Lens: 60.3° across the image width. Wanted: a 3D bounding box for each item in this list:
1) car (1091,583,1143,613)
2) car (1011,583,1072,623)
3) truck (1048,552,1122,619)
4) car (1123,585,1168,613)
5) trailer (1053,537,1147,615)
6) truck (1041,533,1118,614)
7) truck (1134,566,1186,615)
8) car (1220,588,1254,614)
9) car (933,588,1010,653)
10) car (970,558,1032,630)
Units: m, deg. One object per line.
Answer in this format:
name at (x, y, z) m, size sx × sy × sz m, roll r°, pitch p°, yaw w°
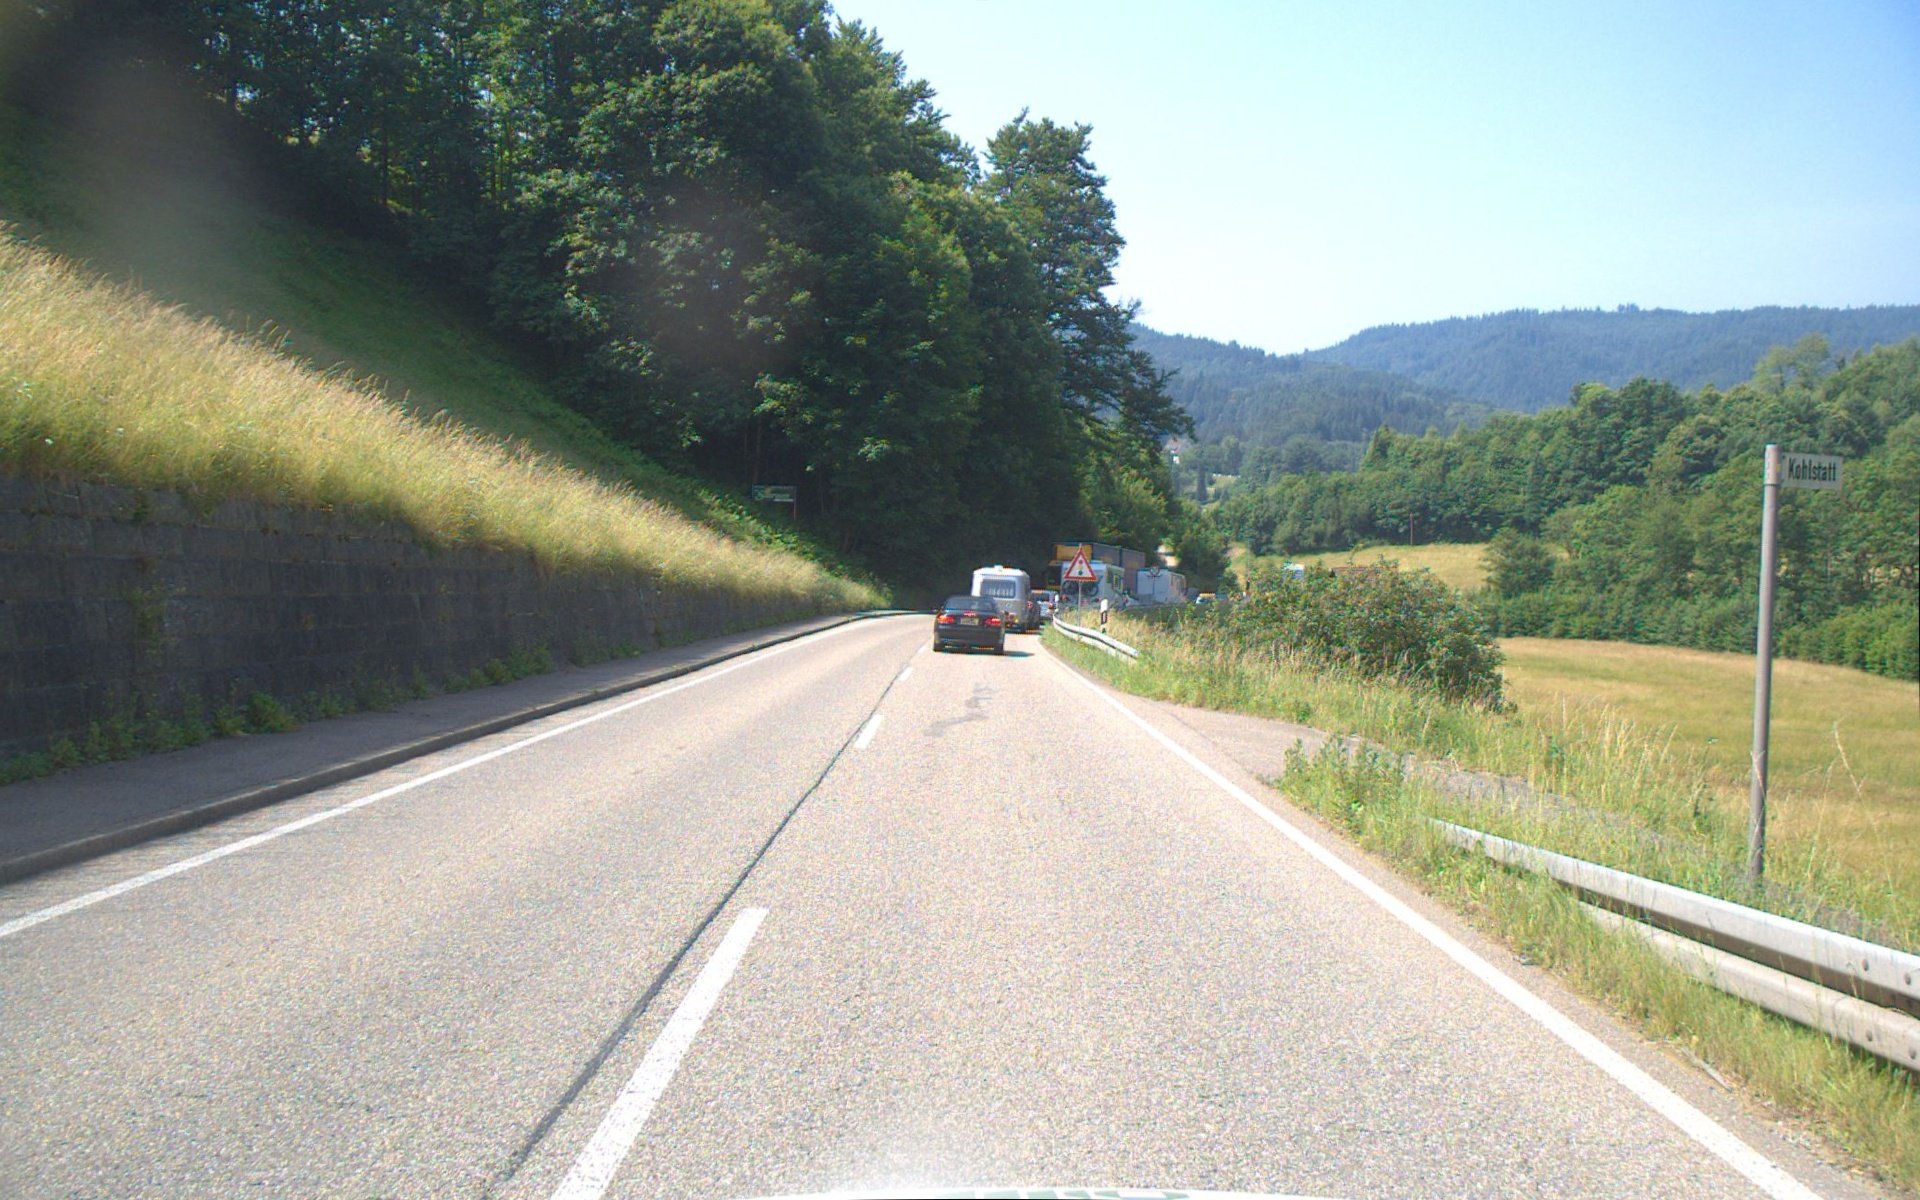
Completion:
car at (8.805, -0.138, 92.430) m, size 1.952 × 1.489 × 4.002 m, roll 5°, pitch 2°, yaw 18°
car at (3.587, 0.121, 72.018) m, size 1.952 × 1.509 × 4.003 m, roll 5°, pitch 1°, yaw 12°
truck at (6.446, -0.736, 84.423) m, size 2.732 × 3.049 × 6.874 m, roll 5°, pitch 1°, yaw 12°
car at (11.208, -0.055, 99.587) m, size 1.751 × 1.489 × 4.001 m, roll 5°, pitch 2°, yaw 19°
trailer at (9.166, -1.493, 105.926) m, size 3.191 × 4.493 × 15.327 m, roll 3°, pitch 1°, yaw 15°
truck at (7.180, -1.571, 98.276) m, size 3.121 × 4.472 × 6.576 m, roll 4°, pitch 1°, yaw 15°
truck at (12.888, -0.583, 106.259) m, size 2.190 × 2.852 × 6.235 m, roll 3°, pitch 0°, yaw 16°
car at (23.039, 0.108, 137.475) m, size 1.953 × 1.958 × 4.000 m, roll 5°, pitch 2°, yaw 21°
car at (0.260, 0.468, 40.606) m, size 1.735 × 1.358 × 3.767 m, roll 4°, pitch 1°, yaw 0°
car at (1.533, -0.270, 59.822) m, size 1.952 × 2.393 × 4.917 m, roll 3°, pitch 2°, yaw 4°
